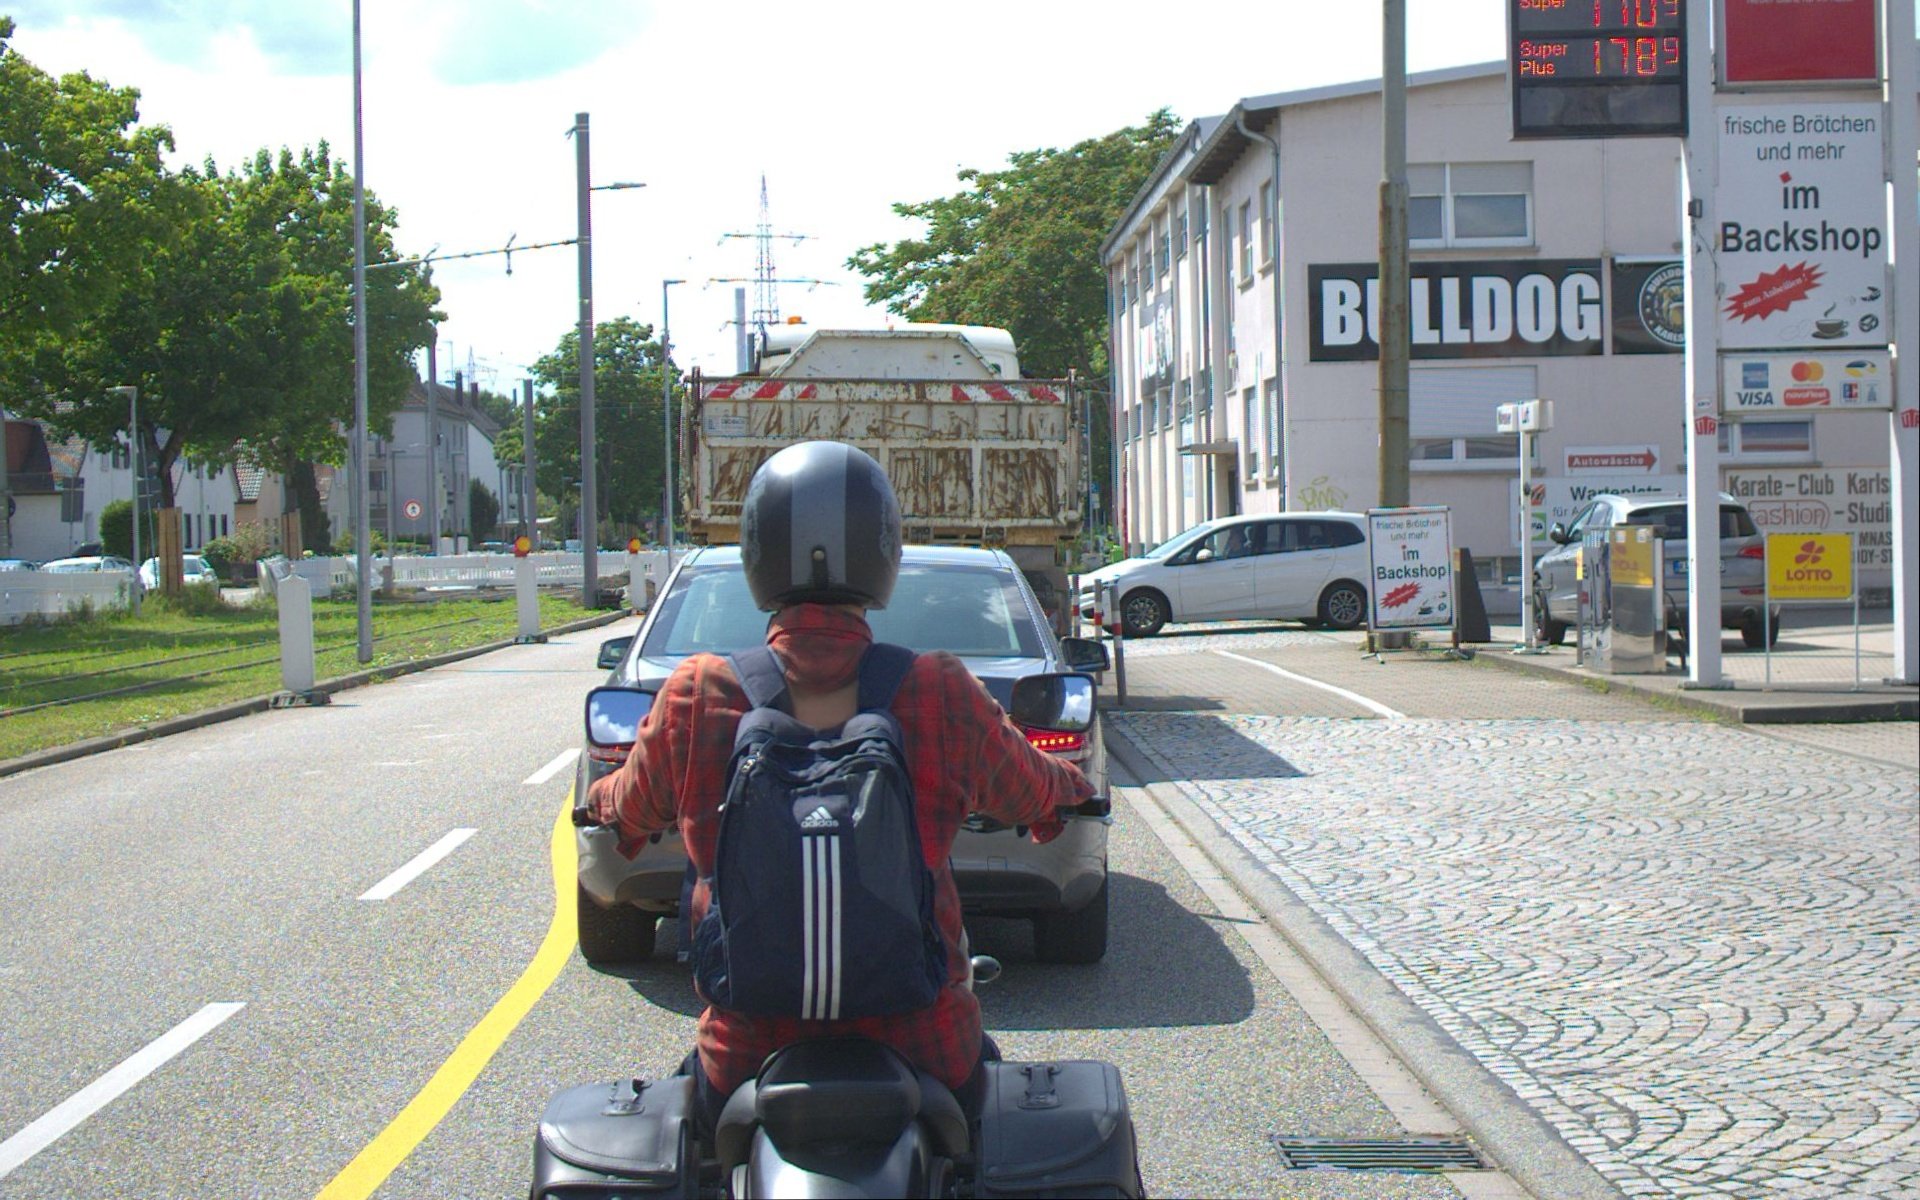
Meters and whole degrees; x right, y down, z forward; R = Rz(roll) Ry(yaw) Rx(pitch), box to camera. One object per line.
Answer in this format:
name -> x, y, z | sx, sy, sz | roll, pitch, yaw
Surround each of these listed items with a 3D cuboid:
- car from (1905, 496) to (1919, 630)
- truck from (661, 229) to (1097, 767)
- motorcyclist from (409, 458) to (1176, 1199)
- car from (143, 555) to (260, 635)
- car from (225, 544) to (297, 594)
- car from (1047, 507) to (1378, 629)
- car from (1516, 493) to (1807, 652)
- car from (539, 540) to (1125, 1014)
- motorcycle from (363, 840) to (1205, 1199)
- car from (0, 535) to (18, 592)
car -> 11.727, -0.400, 37.099 | 1.806, 1.498, 3.834 | -1, 1, -3
truck -> -0.547, -0.725, 25.369 | 2.638, 3.285, 8.057 | -1, 1, -1
motorcyclist -> -0.216, 0.611, 5.034 | 0.979, 1.597, 1.088 | -1, 1, -1
car -> -17.511, -0.144, 79.502 | 1.776, 1.717, 4.128 | -1, 1, 0
car -> -25.445, -1.138, 125.242 | 1.776, 1.717, 4.128 | -1, 1, 0
car -> 3.430, -0.454, 47.052 | 4.229, 1.537, 1.673 | -1, 1, -8
car -> 7.372, -0.323, 36.529 | 1.667, 1.557, 4.245 | -1, 1, -8
car -> -0.427, 0.525, 12.831 | 1.823, 1.447, 4.000 | 1, 1, -1
motorcycle -> -0.212, 0.953, 5.345 | 0.979, 0.894, 2.653 | -1, 1, -1
car -> -30.066, -1.090, 104.405 | 1.776, 1.717, 4.128 | -1, 1, 0
